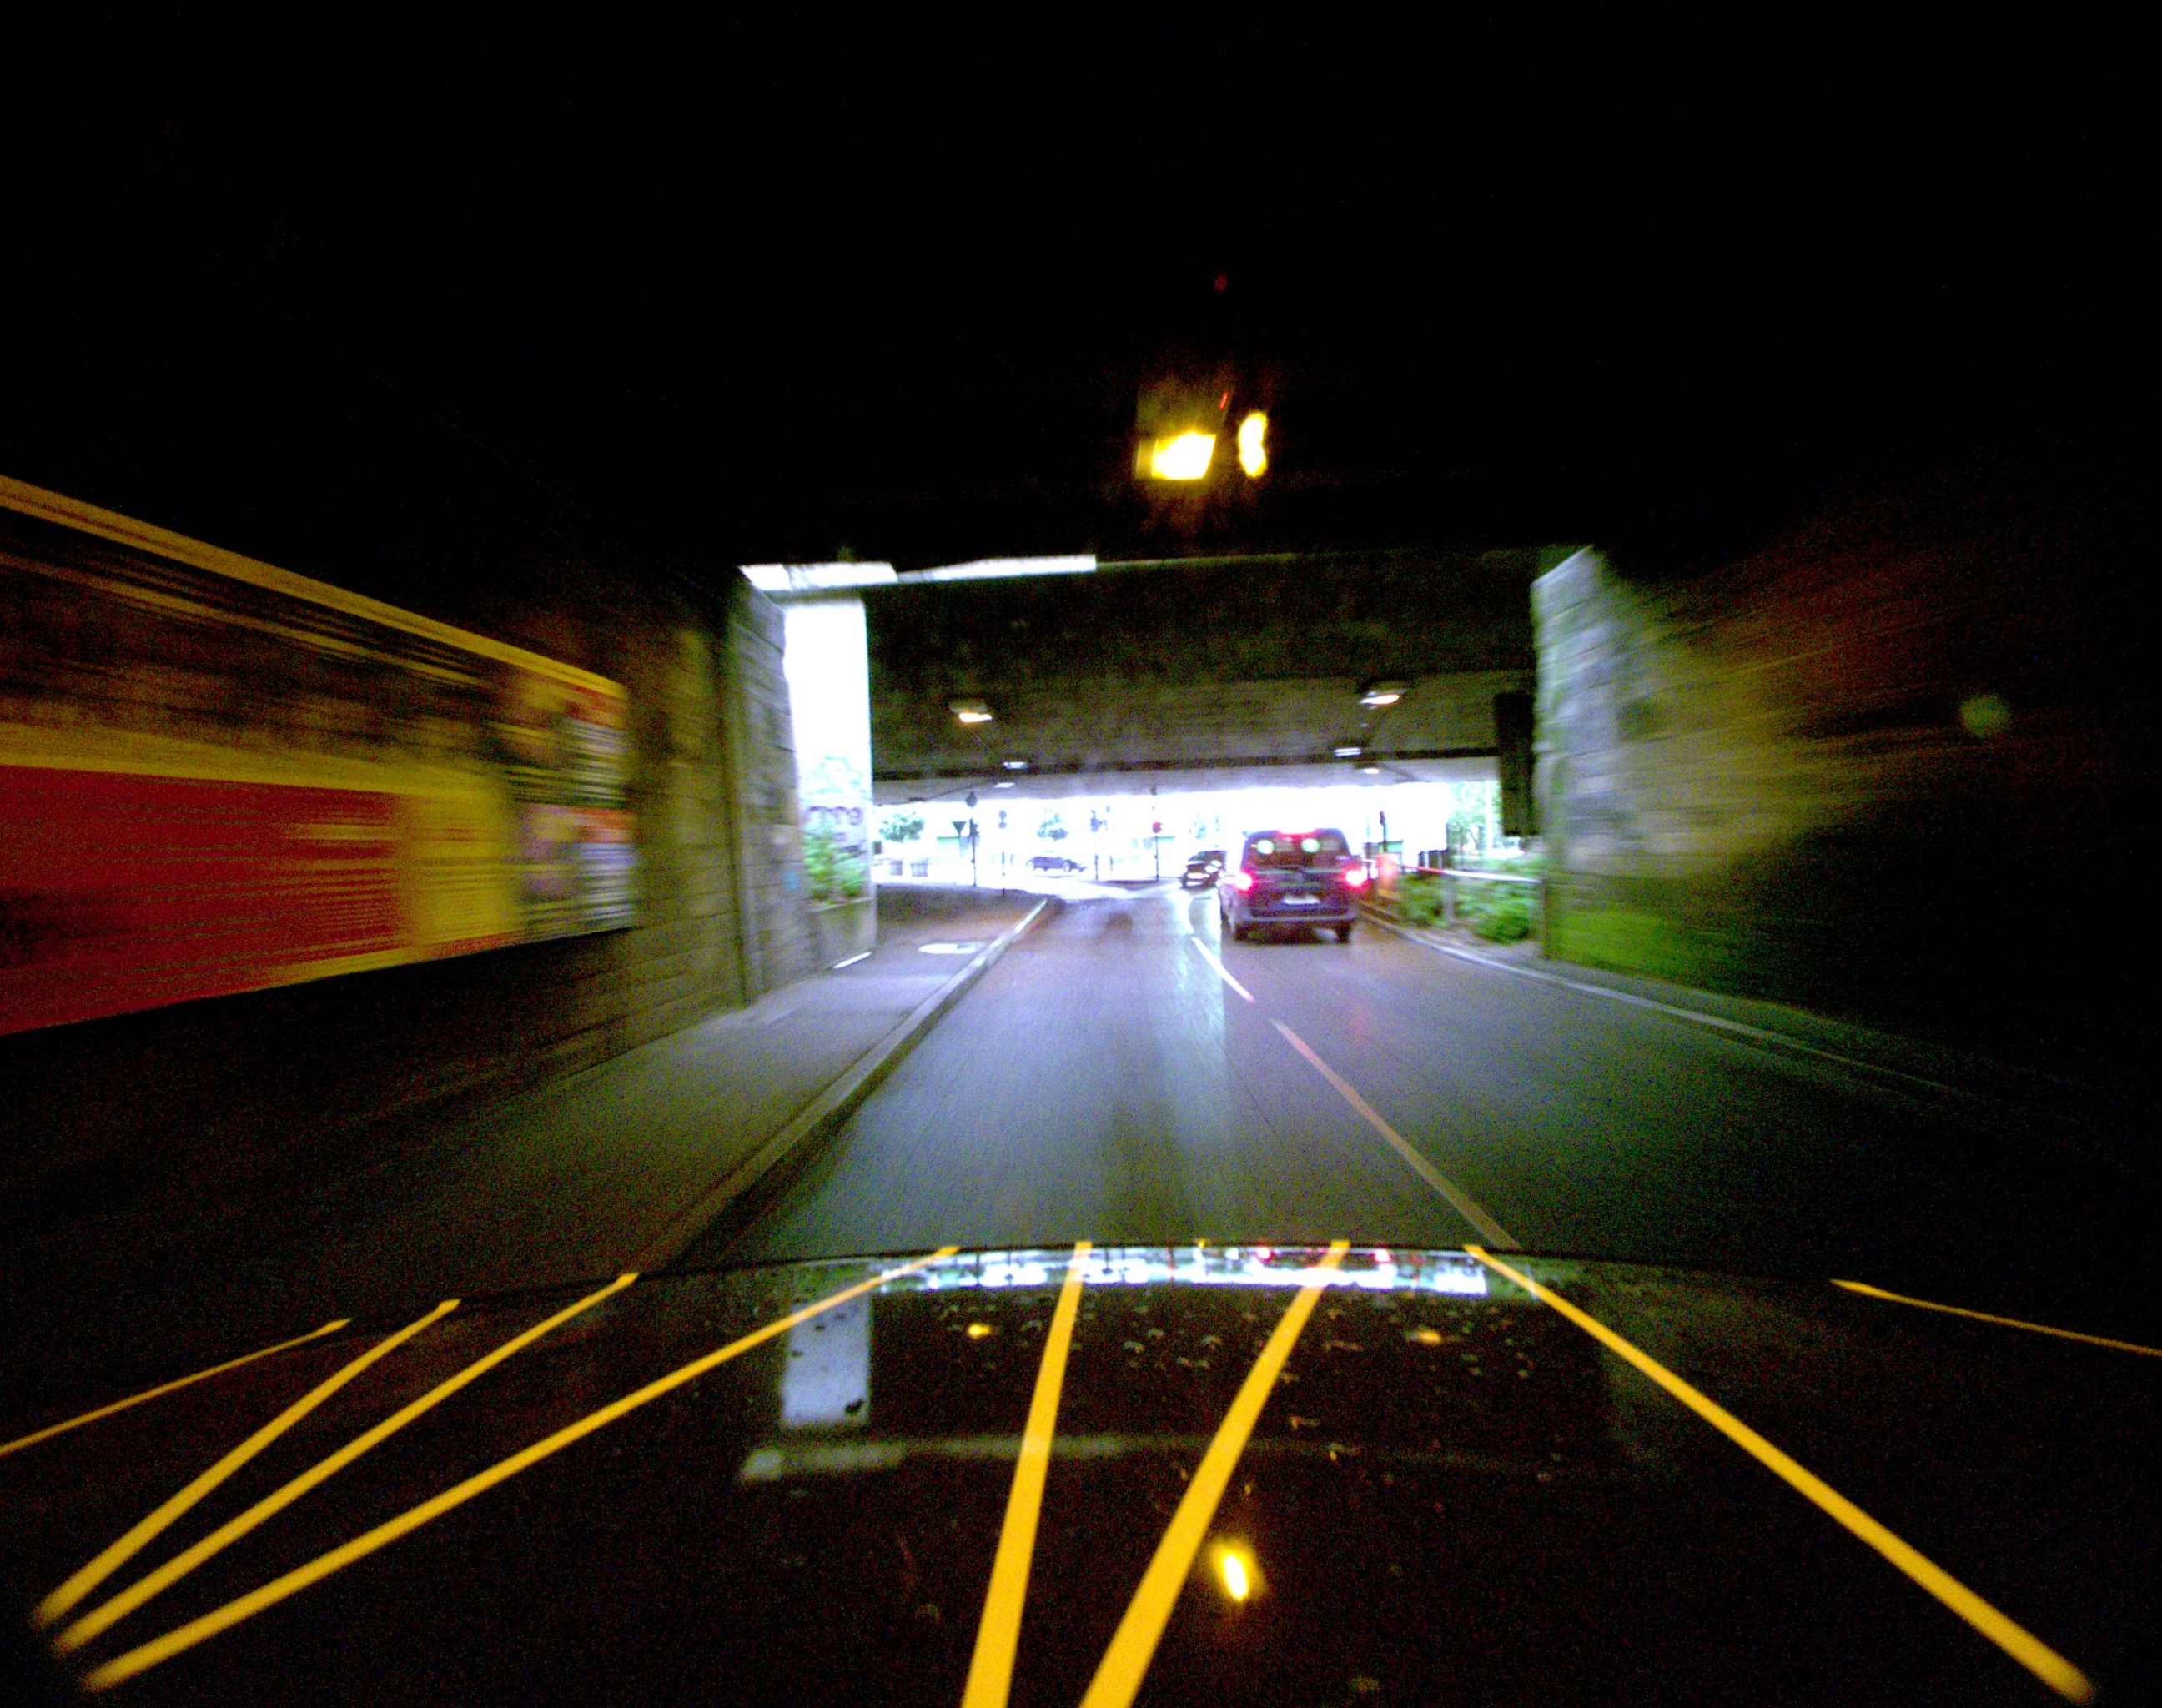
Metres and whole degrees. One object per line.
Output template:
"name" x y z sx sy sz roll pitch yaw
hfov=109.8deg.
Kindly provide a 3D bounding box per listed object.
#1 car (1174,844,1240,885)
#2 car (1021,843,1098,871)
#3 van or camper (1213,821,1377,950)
"car" 5.155 0.414 30.705 1.704 1.548 4.007 0 -1 24
"car" -1.283 0.164 45.651 4.223 1.571 1.772 0 3 26
"van or camper" 3.539 0.407 13.569 1.997 1.858 5.140 -1 1 6
